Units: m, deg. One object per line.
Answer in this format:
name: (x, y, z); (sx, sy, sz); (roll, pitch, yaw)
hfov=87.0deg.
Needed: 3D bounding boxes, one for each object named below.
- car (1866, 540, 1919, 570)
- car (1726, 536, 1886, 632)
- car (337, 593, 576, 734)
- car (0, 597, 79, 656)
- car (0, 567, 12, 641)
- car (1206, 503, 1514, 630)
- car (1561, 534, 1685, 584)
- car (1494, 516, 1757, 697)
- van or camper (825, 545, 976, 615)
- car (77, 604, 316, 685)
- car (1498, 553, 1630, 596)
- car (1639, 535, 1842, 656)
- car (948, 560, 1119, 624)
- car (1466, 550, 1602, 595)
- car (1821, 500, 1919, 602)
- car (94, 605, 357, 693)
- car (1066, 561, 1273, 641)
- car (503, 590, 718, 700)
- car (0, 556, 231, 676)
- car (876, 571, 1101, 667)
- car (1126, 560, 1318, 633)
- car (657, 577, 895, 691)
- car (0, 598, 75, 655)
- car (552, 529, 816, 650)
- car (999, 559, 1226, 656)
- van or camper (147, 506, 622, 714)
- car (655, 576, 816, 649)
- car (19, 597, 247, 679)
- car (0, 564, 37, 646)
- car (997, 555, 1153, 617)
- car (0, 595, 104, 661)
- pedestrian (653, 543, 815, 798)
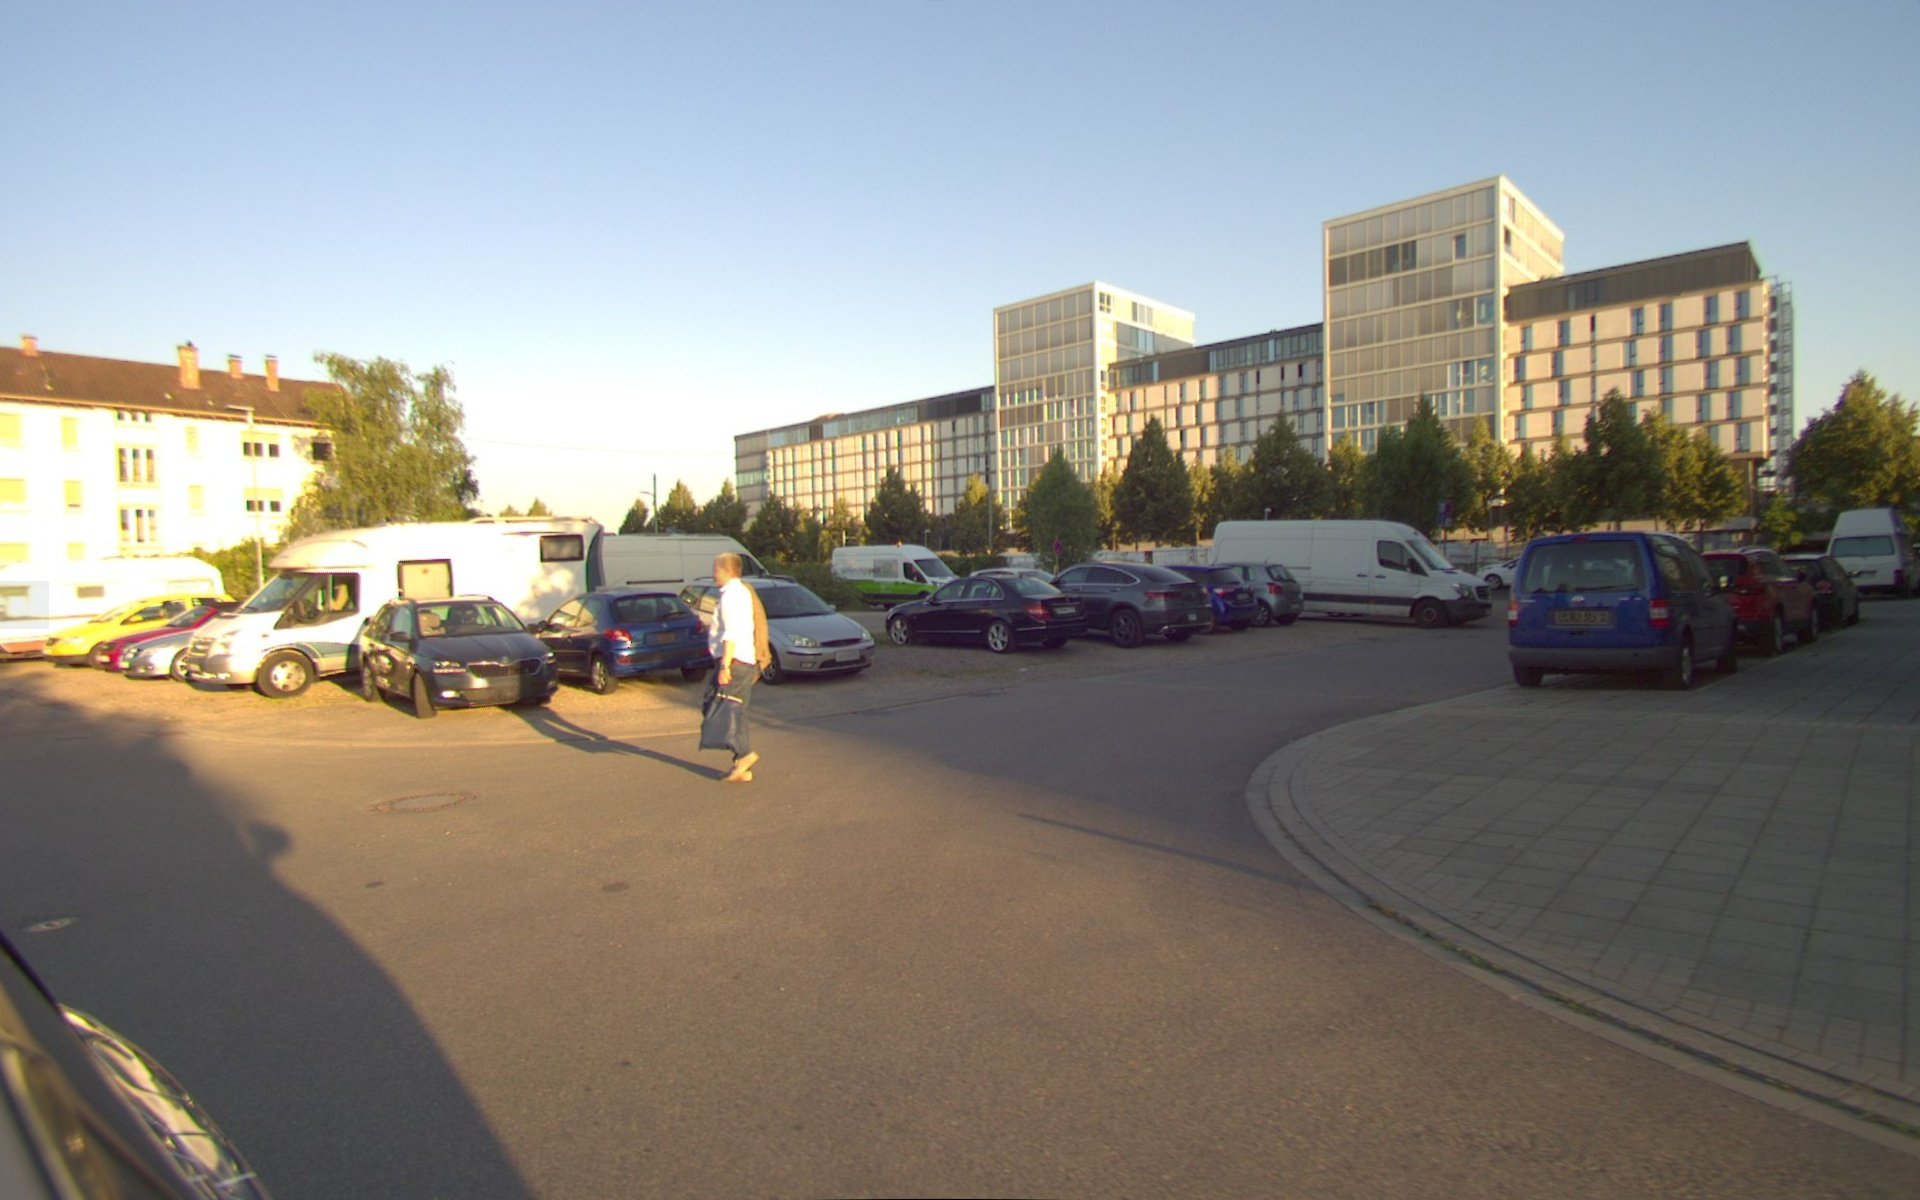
car: (51.180, -2.400, 54.031); (1.643, 1.510, 3.966); (-4, 6, -42)
car: (16.565, -0.347, 19.761); (3.994, 1.623, 1.780); (-4, -1, -42)
car: (-6.948, 0.713, 13.723); (1.667, 1.530, 4.365); (-4, 3, -43)
car: (-28.010, 0.796, 29.002); (1.746, 1.602, 3.888); (-1, 2, 39)
car: (-37.741, 0.339, 35.346); (2.100, 2.733, 6.360); (0, 3, 23)
car: (9.897, -0.865, 25.697); (2.181, 2.822, 6.988); (-3, 4, -45)
car: (28.240, -1.795, 43.189); (4.130, 2.040, 1.644); (4, 6, 44)
car: (8.282, 0.033, 12.445); (4.039, 1.845, 1.849); (-3, 0, -45)
van or camper: (-2.577, -0.798, 42.090); (6.635, 2.710, 1.995); (0, 3, 40)
car: (-16.198, 0.890, 21.651); (1.700, 1.377, 3.698); (-1, 2, 32)
car: (23.570, -1.037, 39.570); (4.130, 1.510, 1.644); (4, 6, 44)
car: (12.332, -0.094, 15.905); (3.993, 1.642, 1.780); (-3, -1, -42)
car: (1.849, -0.187, 26.579); (4.407, 1.510, 1.644); (-1, 2, 44)
car: (21.393, -1.081, 37.840); (4.130, 1.510, 1.644); (4, 6, 44)
car: (26.347, -1.379, 28.896); (3.991, 2.673, 1.963); (-3, 0, -40)
car: (-14.226, 0.874, 19.799); (1.688, 1.338, 3.777); (-1, 2, 34)
car: (4.658, -0.059, 22.967); (4.408, 1.510, 1.644); (4, 6, 44)
car: (-5.426, 0.608, 15.496); (1.644, 1.433, 3.724); (-3, 1, -45)
car: (-21.588, 0.320, 24.506); (2.407, 2.552, 5.837); (0, 4, 36)
car: (0.453, 0.267, 19.555); (4.408, 1.490, 1.644); (4, 6, 44)
car: (6.308, -0.157, 24.703); (4.302, 1.510, 1.644); (4, 6, 44)
car: (-3.057, 0.435, 16.268); (1.644, 1.490, 4.207); (-5, 5, -44)
car: (-29.620, 0.836, 30.647); (1.742, 1.602, 3.898); (1, 3, 30)
car: (-6.774, -0.386, 25.617); (2.222, 2.693, 6.179); (-1, 2, 41)
car: (2.985, 0.060, 20.490); (4.408, 1.633, 1.644); (4, 6, 44)
van or camper: (-9.555, 0.007, 17.576); (2.406, 2.919, 6.675); (-1, 2, 39)
car: (-5.188, 0.245, 23.688); (1.514, 1.458, 3.403); (-1, 3, 41)
car: (-18.584, 0.790, 22.898); (1.700, 1.530, 3.601); (-1, 2, 32)
car: (-34.259, 0.318, 32.928); (2.041, 2.733, 5.790); (-2, 3, 28)
car: (3.283, -0.406, 29.486); (4.407, 1.633, 1.644); (0, 3, 44)
car: (-25.822, 0.797, 27.049); (1.742, 1.602, 4.096); (0, 3, 32)
pedestrian: (-1.786, 0.514, 8.014); (0.856, 1.864, 0.889); (-2, 0, 44)
